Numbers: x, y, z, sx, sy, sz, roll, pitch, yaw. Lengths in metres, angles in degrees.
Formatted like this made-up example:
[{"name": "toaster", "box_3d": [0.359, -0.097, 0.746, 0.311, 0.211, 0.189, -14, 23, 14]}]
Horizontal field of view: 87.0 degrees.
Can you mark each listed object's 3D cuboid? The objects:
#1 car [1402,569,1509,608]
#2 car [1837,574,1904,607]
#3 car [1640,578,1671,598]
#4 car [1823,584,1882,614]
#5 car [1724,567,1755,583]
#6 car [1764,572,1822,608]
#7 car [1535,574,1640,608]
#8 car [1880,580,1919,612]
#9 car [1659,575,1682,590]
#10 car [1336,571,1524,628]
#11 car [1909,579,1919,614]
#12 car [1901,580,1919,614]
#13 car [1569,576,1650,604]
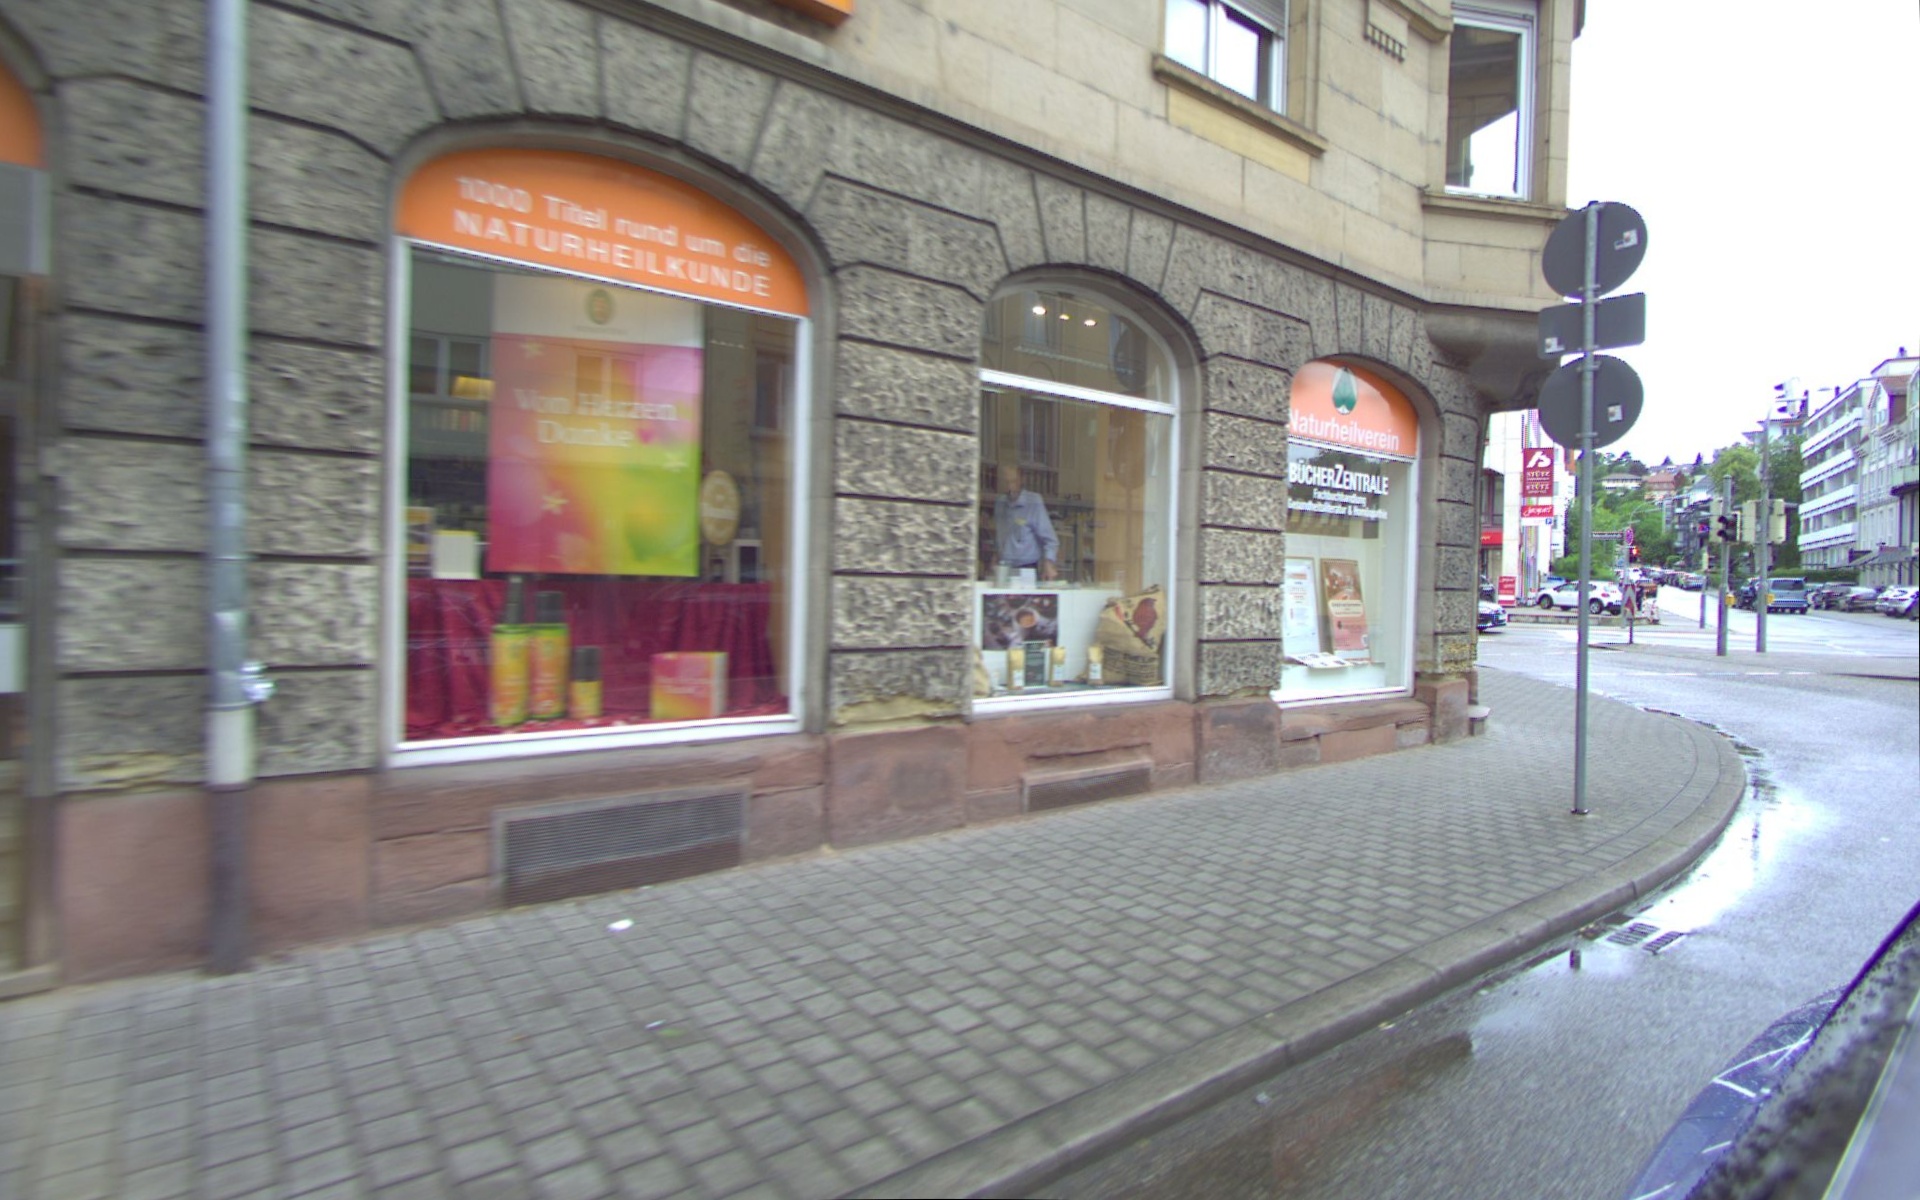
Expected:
[{"name": "car", "box_3d": [21.001, -0.508, 42.865, 4.171, 1.568, 1.936, 0, 2, -27]}, {"name": "car", "box_3d": [49.448, -0.530, 55.036, 1.985, 1.605, 3.954, -4, -1, 33]}, {"name": "car", "box_3d": [60.783, -1.074, 88.493, 1.986, 1.604, 4.605, 2, 3, 33]}, {"name": "car", "box_3d": [52.599, -0.080, 59.722, 1.986, 1.604, 3.954, 2, 3, 33]}, {"name": "car", "box_3d": [78.550, -2.552, 102.011, 1.986, 1.604, 4.605, 2, 3, 33]}, {"name": "car", "box_3d": [46.688, -0.600, 56.781, 1.986, 1.938, 3.954, 2, 3, 33]}, {"name": "car", "box_3d": [30.373, -0.474, 49.091, 1.763, 1.513, 4.008, 0, 2, -25]}, {"name": "car", "box_3d": [47.385, -0.171, 48.872, 3.969, 1.526, 1.978, 2, 2, 32]}, {"name": "car", "box_3d": [83.772, -2.082, 119.376, 1.986, 1.604, 4.605, 2, 3, 33]}, {"name": "car", "box_3d": [13.418, -0.081, 29.100, 1.899, 1.434, 4.525, -1, 3, -39]}, {"name": "car", "box_3d": [43.136, -0.105, 44.035, 1.986, 1.526, 3.953, 2, 3, 33]}, {"name": "car", "box_3d": [46.386, -0.098, 46.686, 3.969, 1.526, 1.978, 2, 2, 32]}, {"name": "car", "box_3d": [38.708, -0.628, 60.332, 3.974, 1.526, 1.976, 2, 3, 35]}]
